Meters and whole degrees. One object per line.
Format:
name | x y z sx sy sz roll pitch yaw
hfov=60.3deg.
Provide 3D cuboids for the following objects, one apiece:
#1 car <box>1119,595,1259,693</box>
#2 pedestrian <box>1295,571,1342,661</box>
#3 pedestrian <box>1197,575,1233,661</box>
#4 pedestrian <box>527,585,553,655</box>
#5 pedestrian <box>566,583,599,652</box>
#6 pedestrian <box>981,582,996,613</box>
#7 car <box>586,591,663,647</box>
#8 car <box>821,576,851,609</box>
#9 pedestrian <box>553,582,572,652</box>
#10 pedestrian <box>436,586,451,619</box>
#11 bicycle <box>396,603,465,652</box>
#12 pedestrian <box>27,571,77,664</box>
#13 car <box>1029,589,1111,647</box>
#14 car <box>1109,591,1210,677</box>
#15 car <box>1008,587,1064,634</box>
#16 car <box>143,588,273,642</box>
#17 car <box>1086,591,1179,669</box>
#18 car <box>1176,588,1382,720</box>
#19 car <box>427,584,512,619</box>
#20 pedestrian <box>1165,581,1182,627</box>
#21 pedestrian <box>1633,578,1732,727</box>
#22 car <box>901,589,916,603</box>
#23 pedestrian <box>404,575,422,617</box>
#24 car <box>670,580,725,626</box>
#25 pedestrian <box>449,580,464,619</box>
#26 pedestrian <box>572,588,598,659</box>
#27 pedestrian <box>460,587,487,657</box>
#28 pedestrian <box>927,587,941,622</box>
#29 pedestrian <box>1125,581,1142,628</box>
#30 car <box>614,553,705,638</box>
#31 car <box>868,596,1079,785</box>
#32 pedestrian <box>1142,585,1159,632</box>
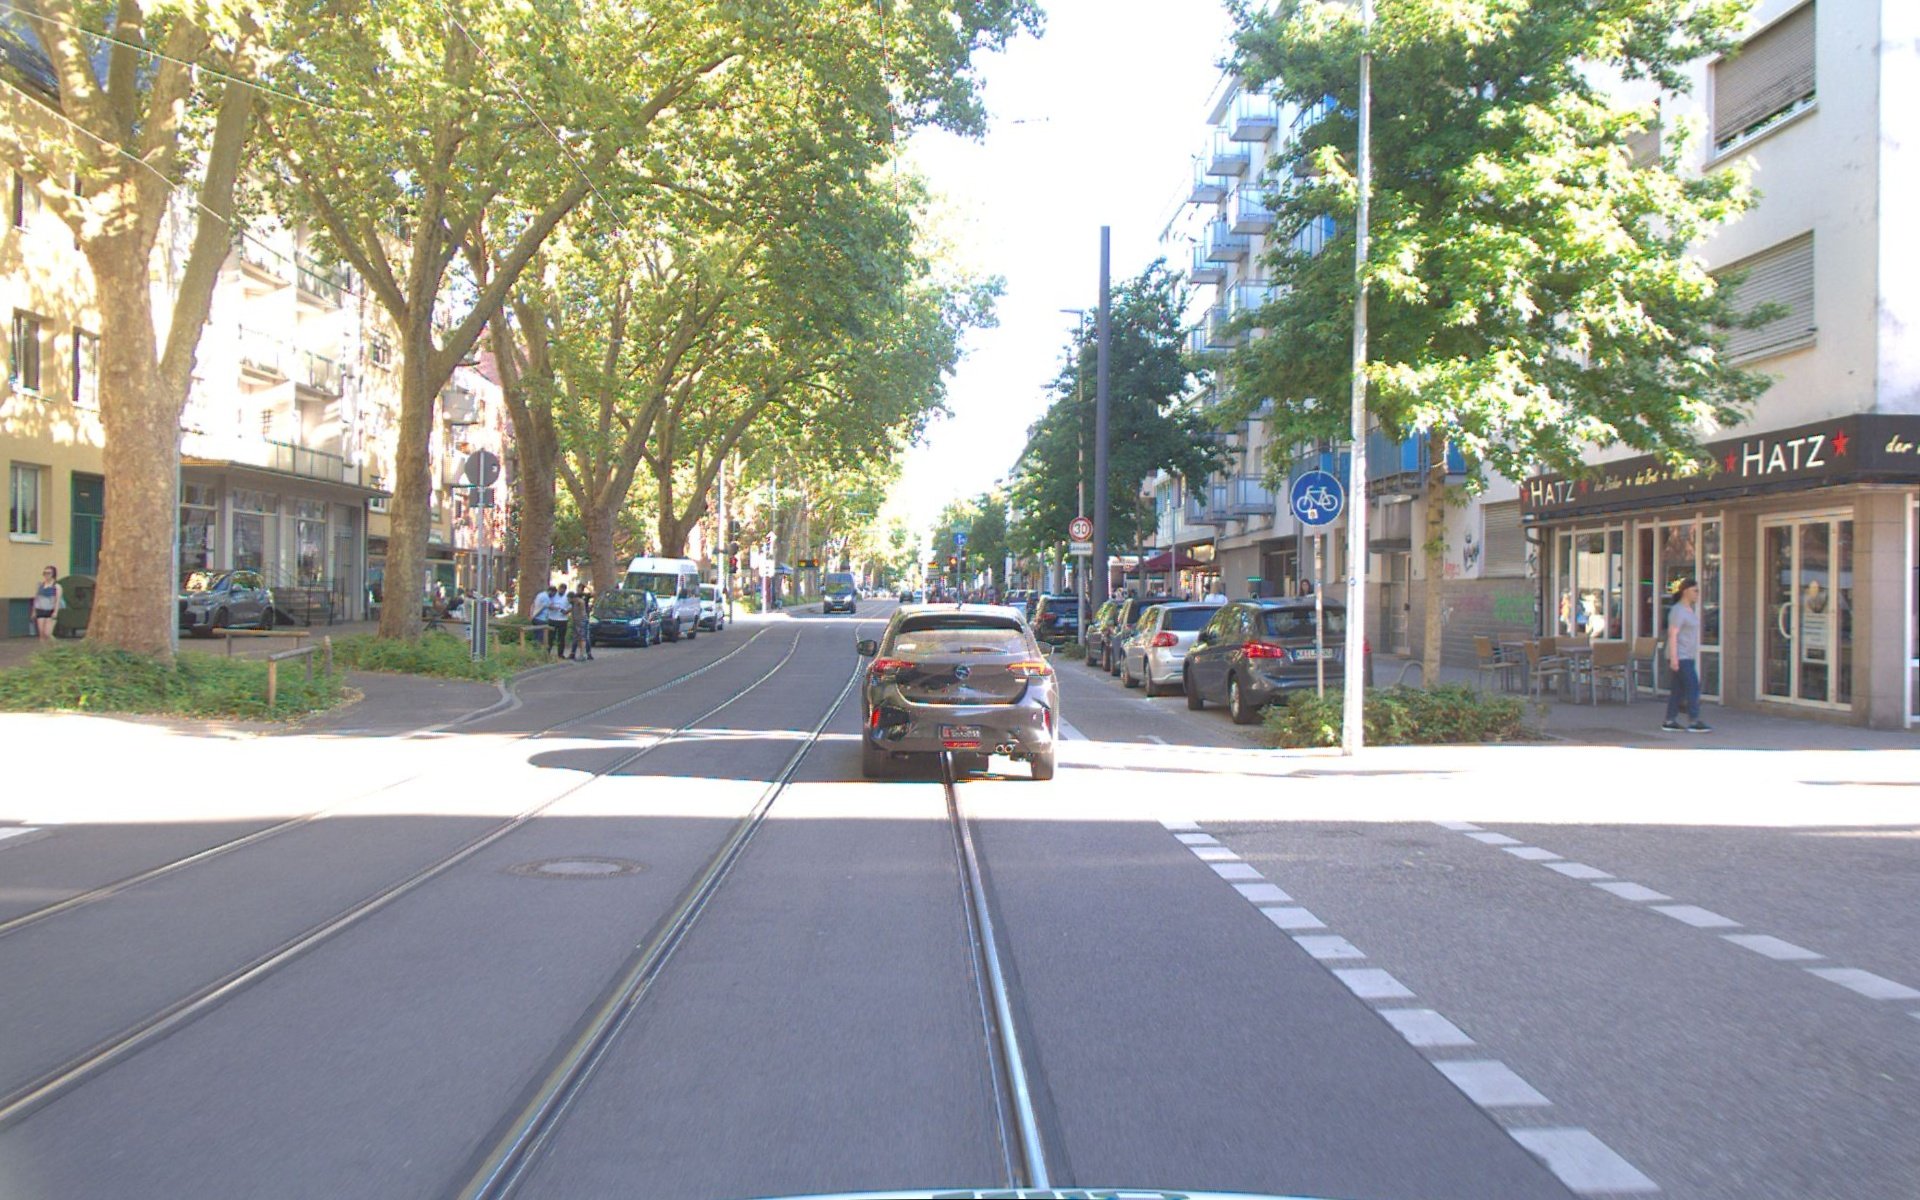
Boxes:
car | 3.791 0.690 27.966 1.684 1.516 3.679 0 1 -3
pedestrian | 7.177 0.318 33.158 0.776 1.779 0.770 0 0 1
pedestrian | 5.029 0.354 32.661 0.588 1.680 0.630 0 0 -3
pedestrian | -9.666 0.452 38.051 0.497 1.610 0.526 0 0 -5
pedestrian | -8.908 0.412 39.007 0.670 1.610 0.557 0 0 -3
pedestrian | 1.917 -0.157 111.100 0.839 2.048 1.069 -4 0 -1
car | -9.665 0.514 47.896 1.720 1.534 3.996 0 1 -5
car | -8.467 -0.528 112.464 1.955 2.250 5.097 0 1 -6
pedestrian | -9.208 0.398 38.333 0.339 1.610 0.508 0 0 -3
pedestrian | -21.563 0.095 69.076 0.497 1.356 0.526 0 0 -5
bicycle | -12.216 0.628 38.144 1.659 1.080 0.452 2 0 29
pedestrian | -16.609 0.308 30.249 0.540 1.680 0.649 0 0 2
car | 3.057 0.475 46.700 1.953 1.534 3.999 0 1 -1
car | 3.849 0.623 32.363 1.617 1.601 3.083 0 0 0
car | 2.853 0.353 61.208 1.951 1.668 4.002 0 0 4
car | -19.285 0.360 42.588 1.661 1.298 3.827 0 1 -2
car | 3.723 0.607 36.219 1.683 1.601 3.682 0 0 0
car | 4.211 0.651 22.443 1.685 1.601 4.080 0 1 -5
car | -25.278 0.060 85.303 3.912 1.735 1.997 0 1 -8
pedestrian | 8.219 0.167 63.788 0.616 1.763 0.632 0 0 5
pedestrian | 8.254 0.575 18.902 0.842 1.644 0.766 0 0 42
car | -6.378 -0.543 203.773 1.714 1.680 4.000 0 1 0
pedestrian | -21.394 -0.152 64.728 0.542 1.610 0.573 0 0 -6
car | -10.088 0.085 63.844 1.956 1.747 3.994 0 1 -7
pedestrian | -20.873 -0.006 68.555 0.497 1.610 0.526 0 0 -5
pedestrian | -8.694 0.539 38.325 0.496 1.610 0.526 0 0 -2
pedestrian | -11.303 0.505 38.449 0.497 1.610 0.526 0 0 -5
pedestrian | -1.222 0.208 77.945 0.584 1.618 0.891 0 0 -8
pedestrian | 6.591 0.169 62.936 0.616 1.763 0.632 0 0 3
car | -9.730 -0.181 54.078 2.050 2.629 5.995 0 1 -2
car | 0.050 0.715 14.992 1.646 1.447 3.626 2 0 -2
pedestrian | 7.262 0.322 62.984 0.616 1.763 0.632 0 0 3
